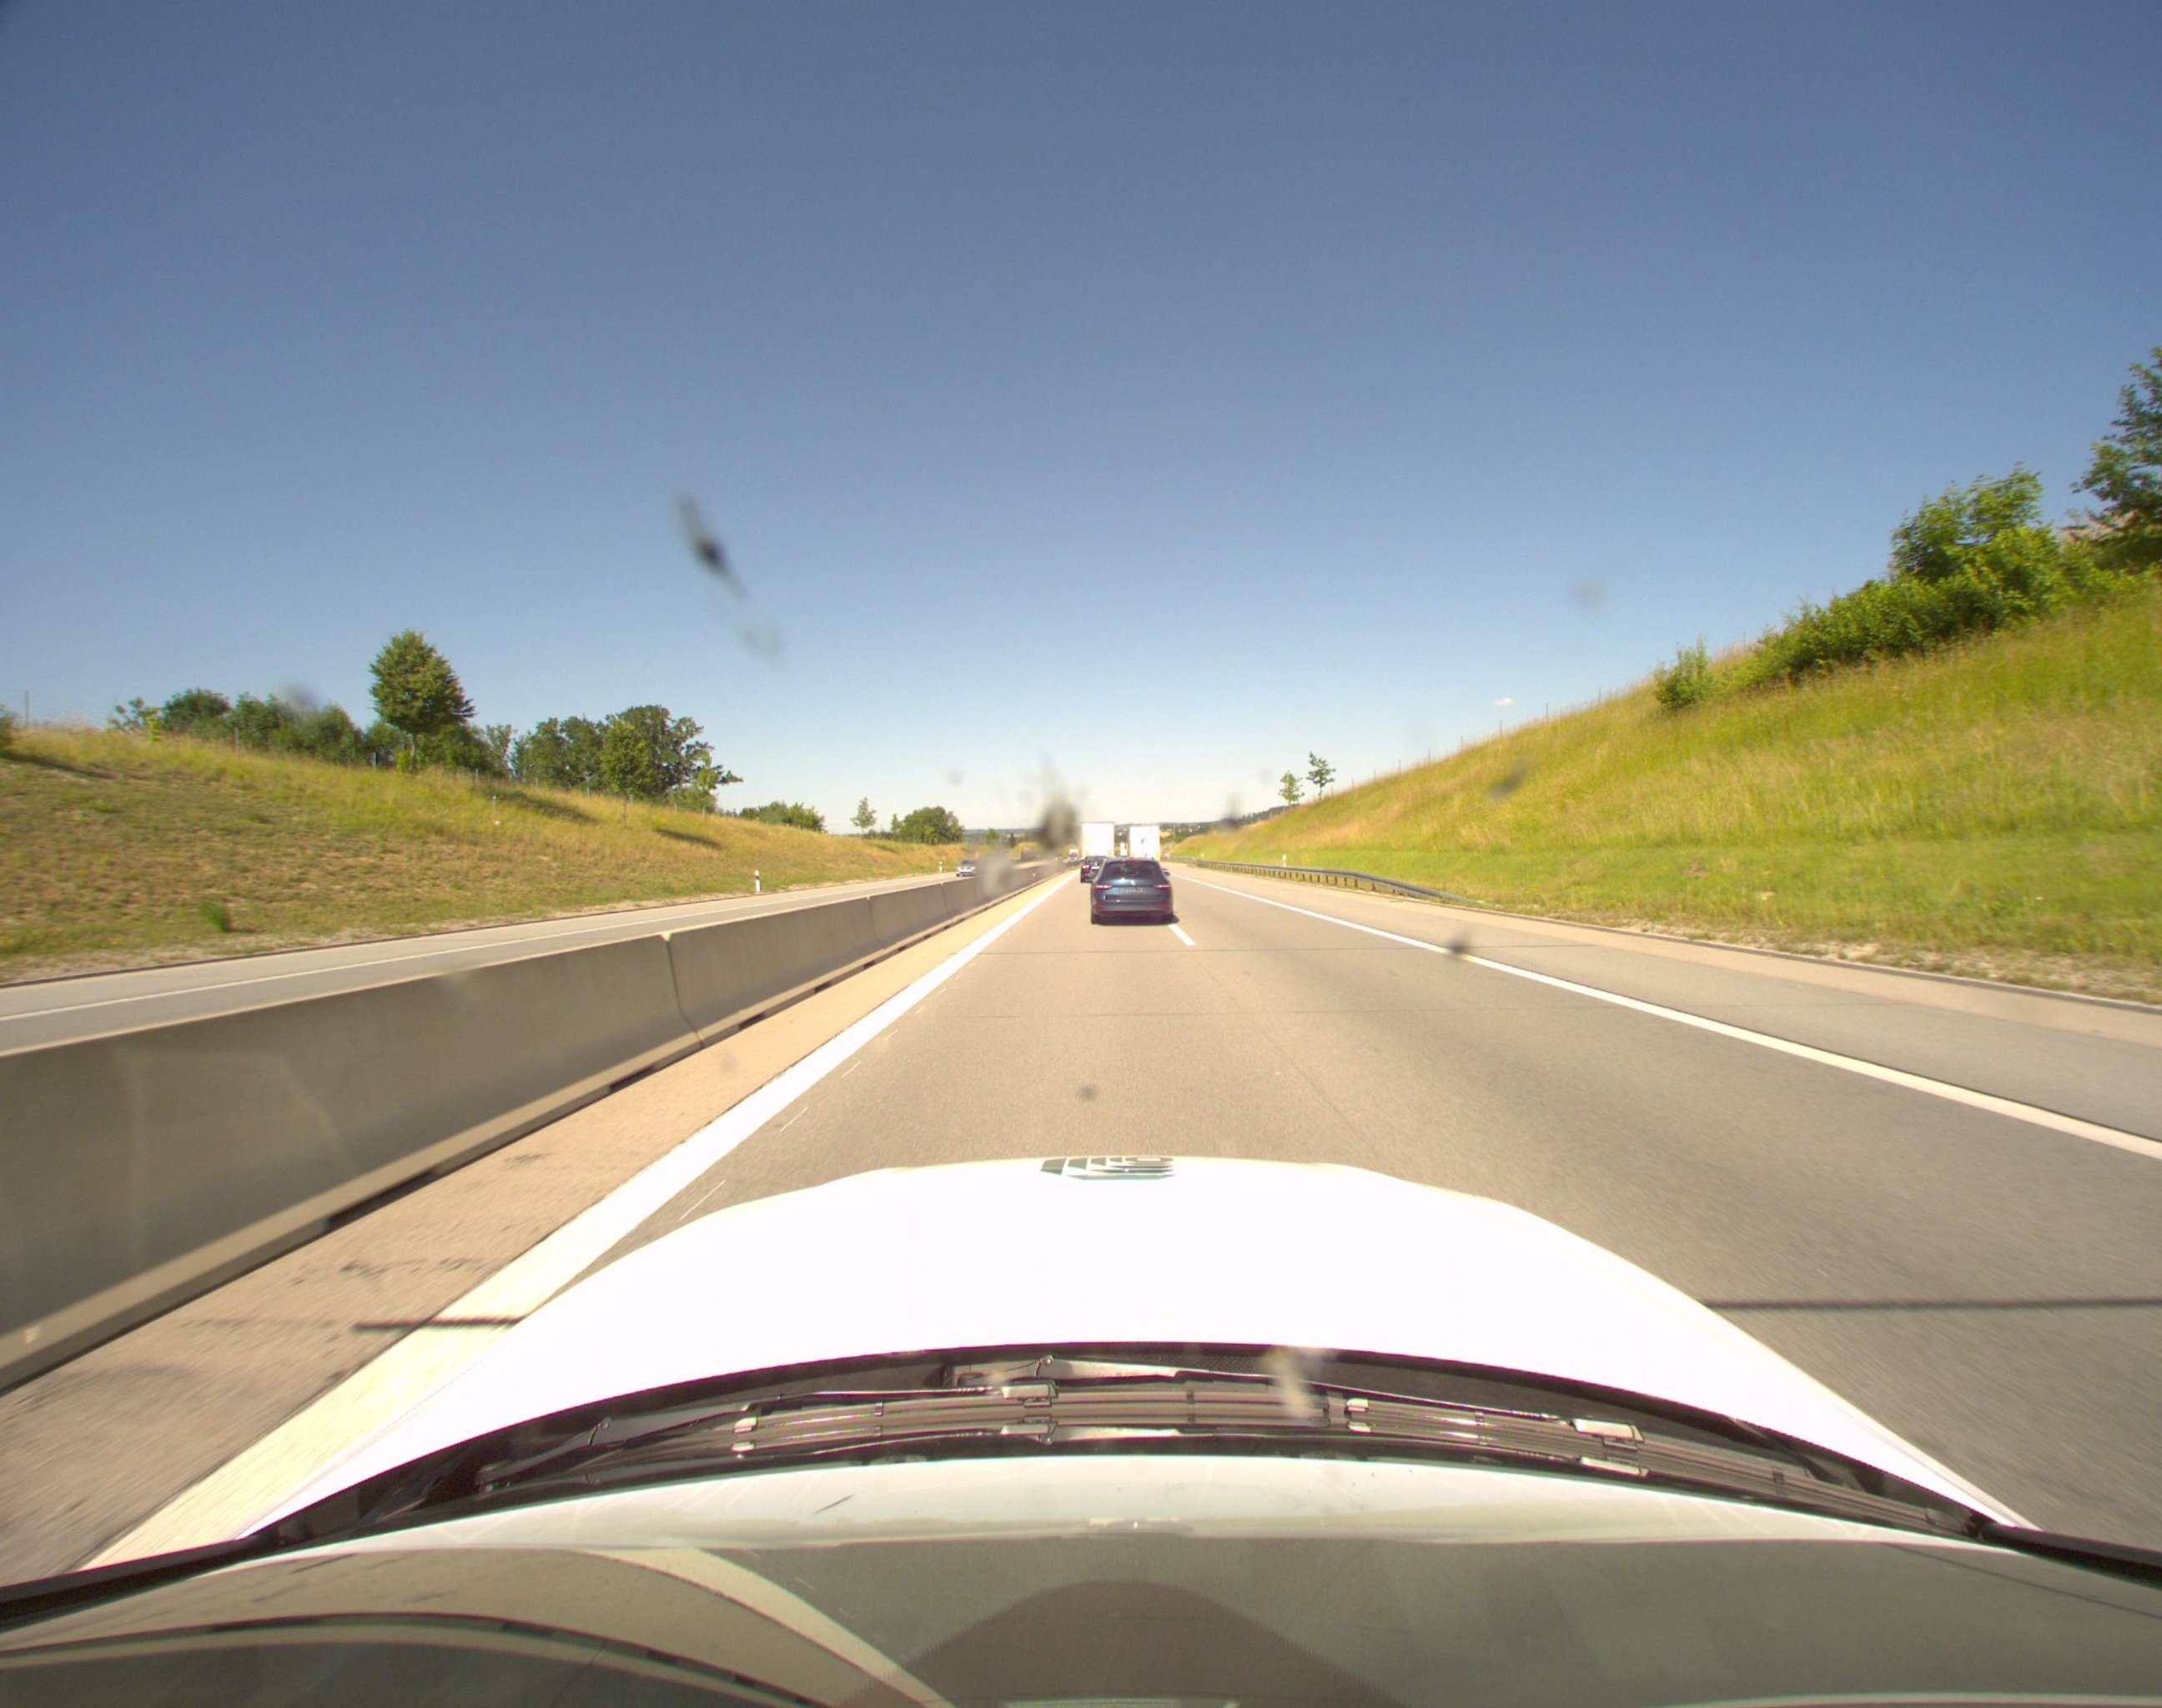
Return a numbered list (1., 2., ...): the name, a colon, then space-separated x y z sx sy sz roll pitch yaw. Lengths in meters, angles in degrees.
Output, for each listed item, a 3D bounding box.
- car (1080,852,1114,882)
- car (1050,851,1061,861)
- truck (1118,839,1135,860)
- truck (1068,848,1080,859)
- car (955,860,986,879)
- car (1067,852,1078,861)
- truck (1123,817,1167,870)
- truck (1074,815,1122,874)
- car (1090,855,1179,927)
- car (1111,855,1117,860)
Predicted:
1. car: 0.867 0.682 44.477 1.694 1.441 4.000 -3 0 0
2. car: -5.440 0.384 173.283 1.986 2.013 4.972 0 0 2
3. truck: 10.602 -1.068 188.403 3.588 4.381 11.246 -3 0 4
4. truck: -1.848 -0.203 220.083 2.764 3.021 6.795 -1 0 2
5. car: -9.208 1.294 68.142 1.796 1.471 4.529 -1 0 2
6. car: -1.601 0.497 157.743 1.924 1.732 4.888 0 0 2
7. truck: 5.985 -0.925 76.402 3.588 4.381 11.246 -3 0 4
8. truck: 1.583 -0.752 68.494 3.196 4.381 11.247 -3 0 4
9. car: 1.121 0.760 18.567 1.771 1.441 3.788 -1 0 0
10. car: 9.155 0.966 227.828 1.693 1.441 4.003 -1 0 3
